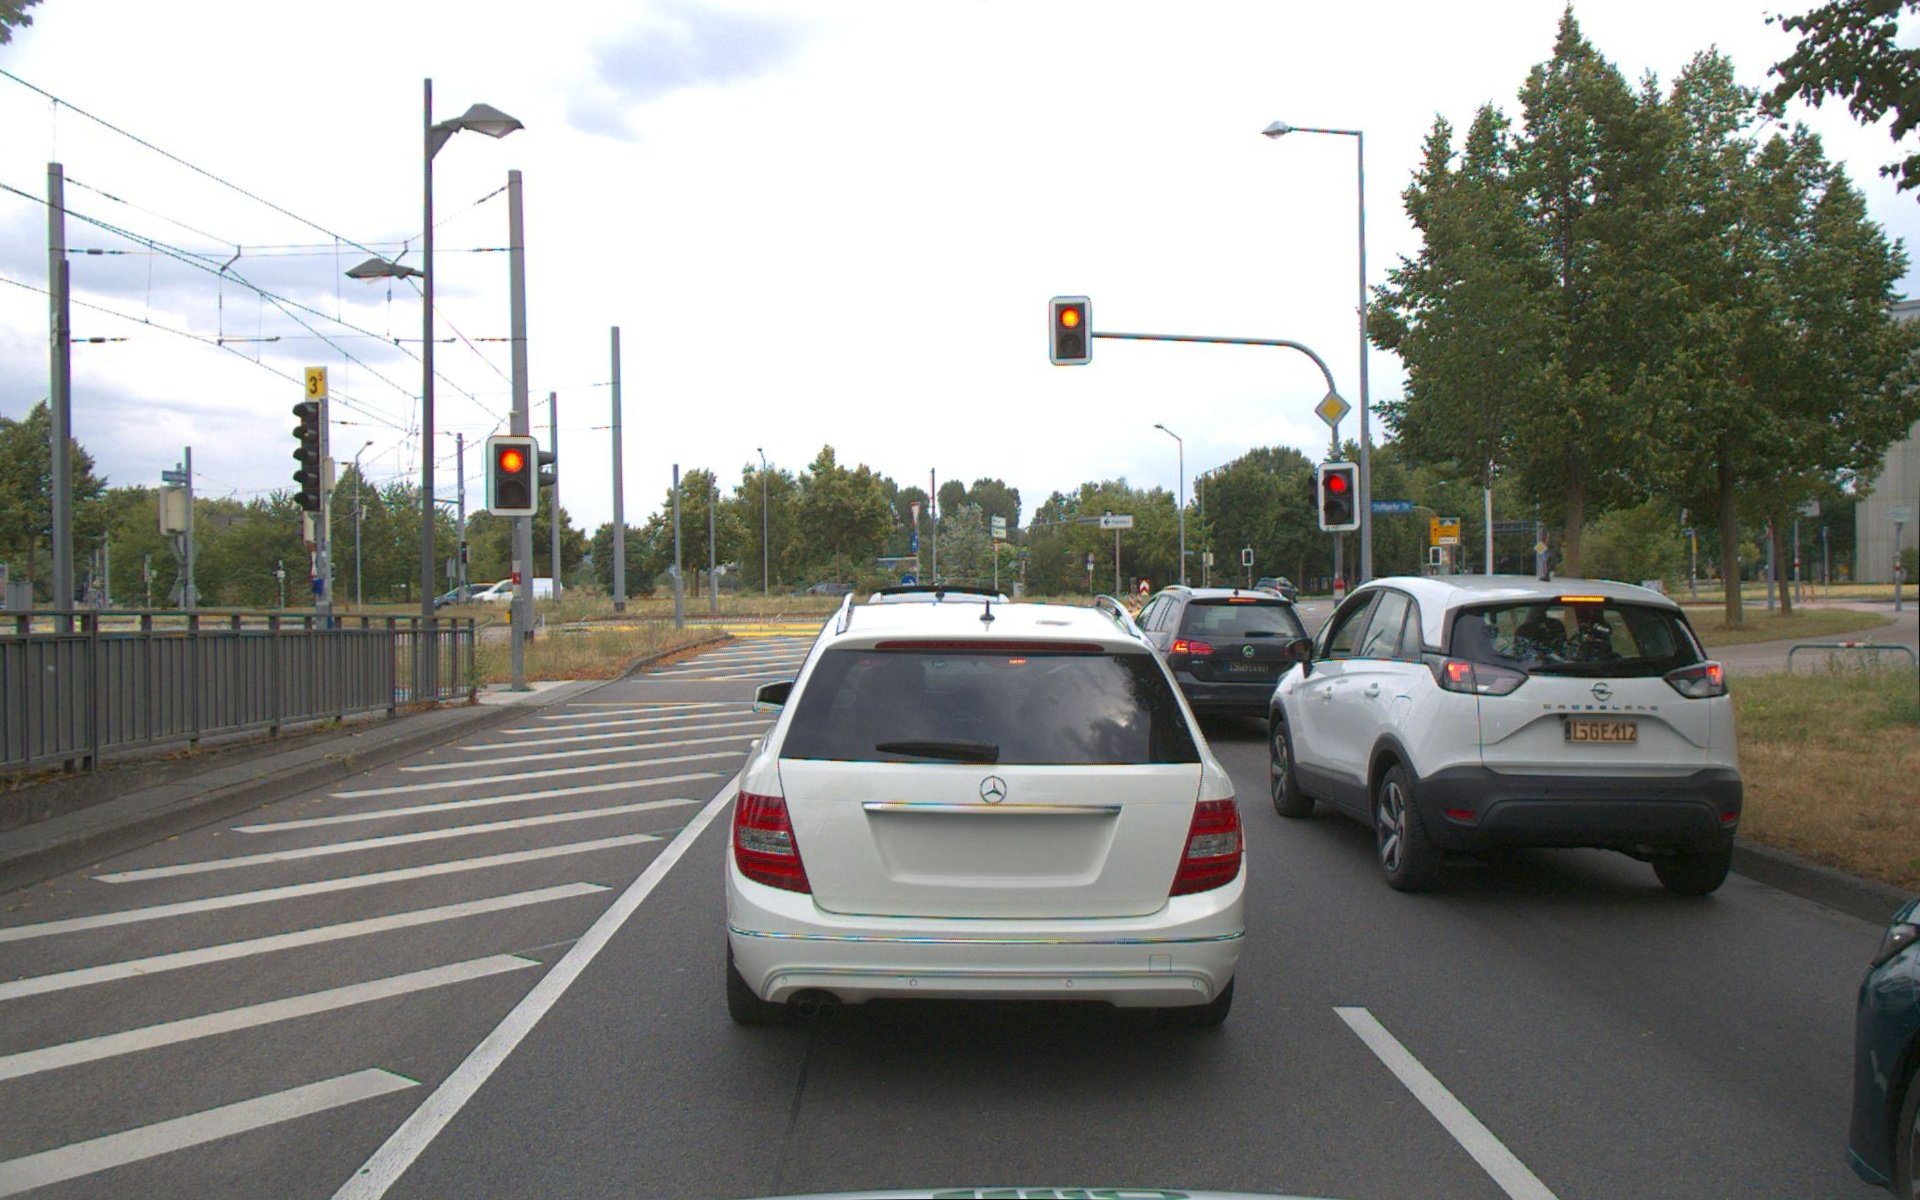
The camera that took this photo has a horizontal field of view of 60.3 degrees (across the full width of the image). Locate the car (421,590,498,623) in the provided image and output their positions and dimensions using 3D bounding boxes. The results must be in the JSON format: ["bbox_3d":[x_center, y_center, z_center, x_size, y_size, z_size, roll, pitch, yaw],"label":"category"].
[{"bbox_3d":[-28.572,0.381,94.382,3.939,1.749,1.983,2,0,-27],"label":"car"}]

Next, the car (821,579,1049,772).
[{"bbox_3d":[-0.274,0.563,14.659,1.738,1.474,3.908,1,1,-3],"label":"car"}]

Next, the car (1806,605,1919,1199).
[{"bbox_3d":[3.054,0.774,1.884,1.752,1.457,4.307,0,1,-4],"label":"car"}]

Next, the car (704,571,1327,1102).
[{"bbox_3d":[0.074,0.647,6.591,1.738,1.474,3.908,1,1,-3],"label":"car"}]

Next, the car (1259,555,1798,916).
[{"bbox_3d":[3.008,0.608,9.666,1.751,1.653,3.910,-1,1,-1],"label":"car"}]

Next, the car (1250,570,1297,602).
[{"bbox_3d":[18.801,-0.805,99.161,1.953,1.822,3.999,2,0,23],"label":"car"}]

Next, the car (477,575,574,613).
[{"bbox_3d":[-24.326,-0.337,92.583,4.931,2.049,1.980,-1,1,-30],"label":"car"}]

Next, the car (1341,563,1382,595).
[{"bbox_3d":[21.813,-1.155,89.975,1.745,1.664,4.406,-1,1,9],"label":"car"}]

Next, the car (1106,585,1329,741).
[{"bbox_3d":[2.628,0.582,17.695,1.592,1.474,3.908,1,1,-3],"label":"car"}]
